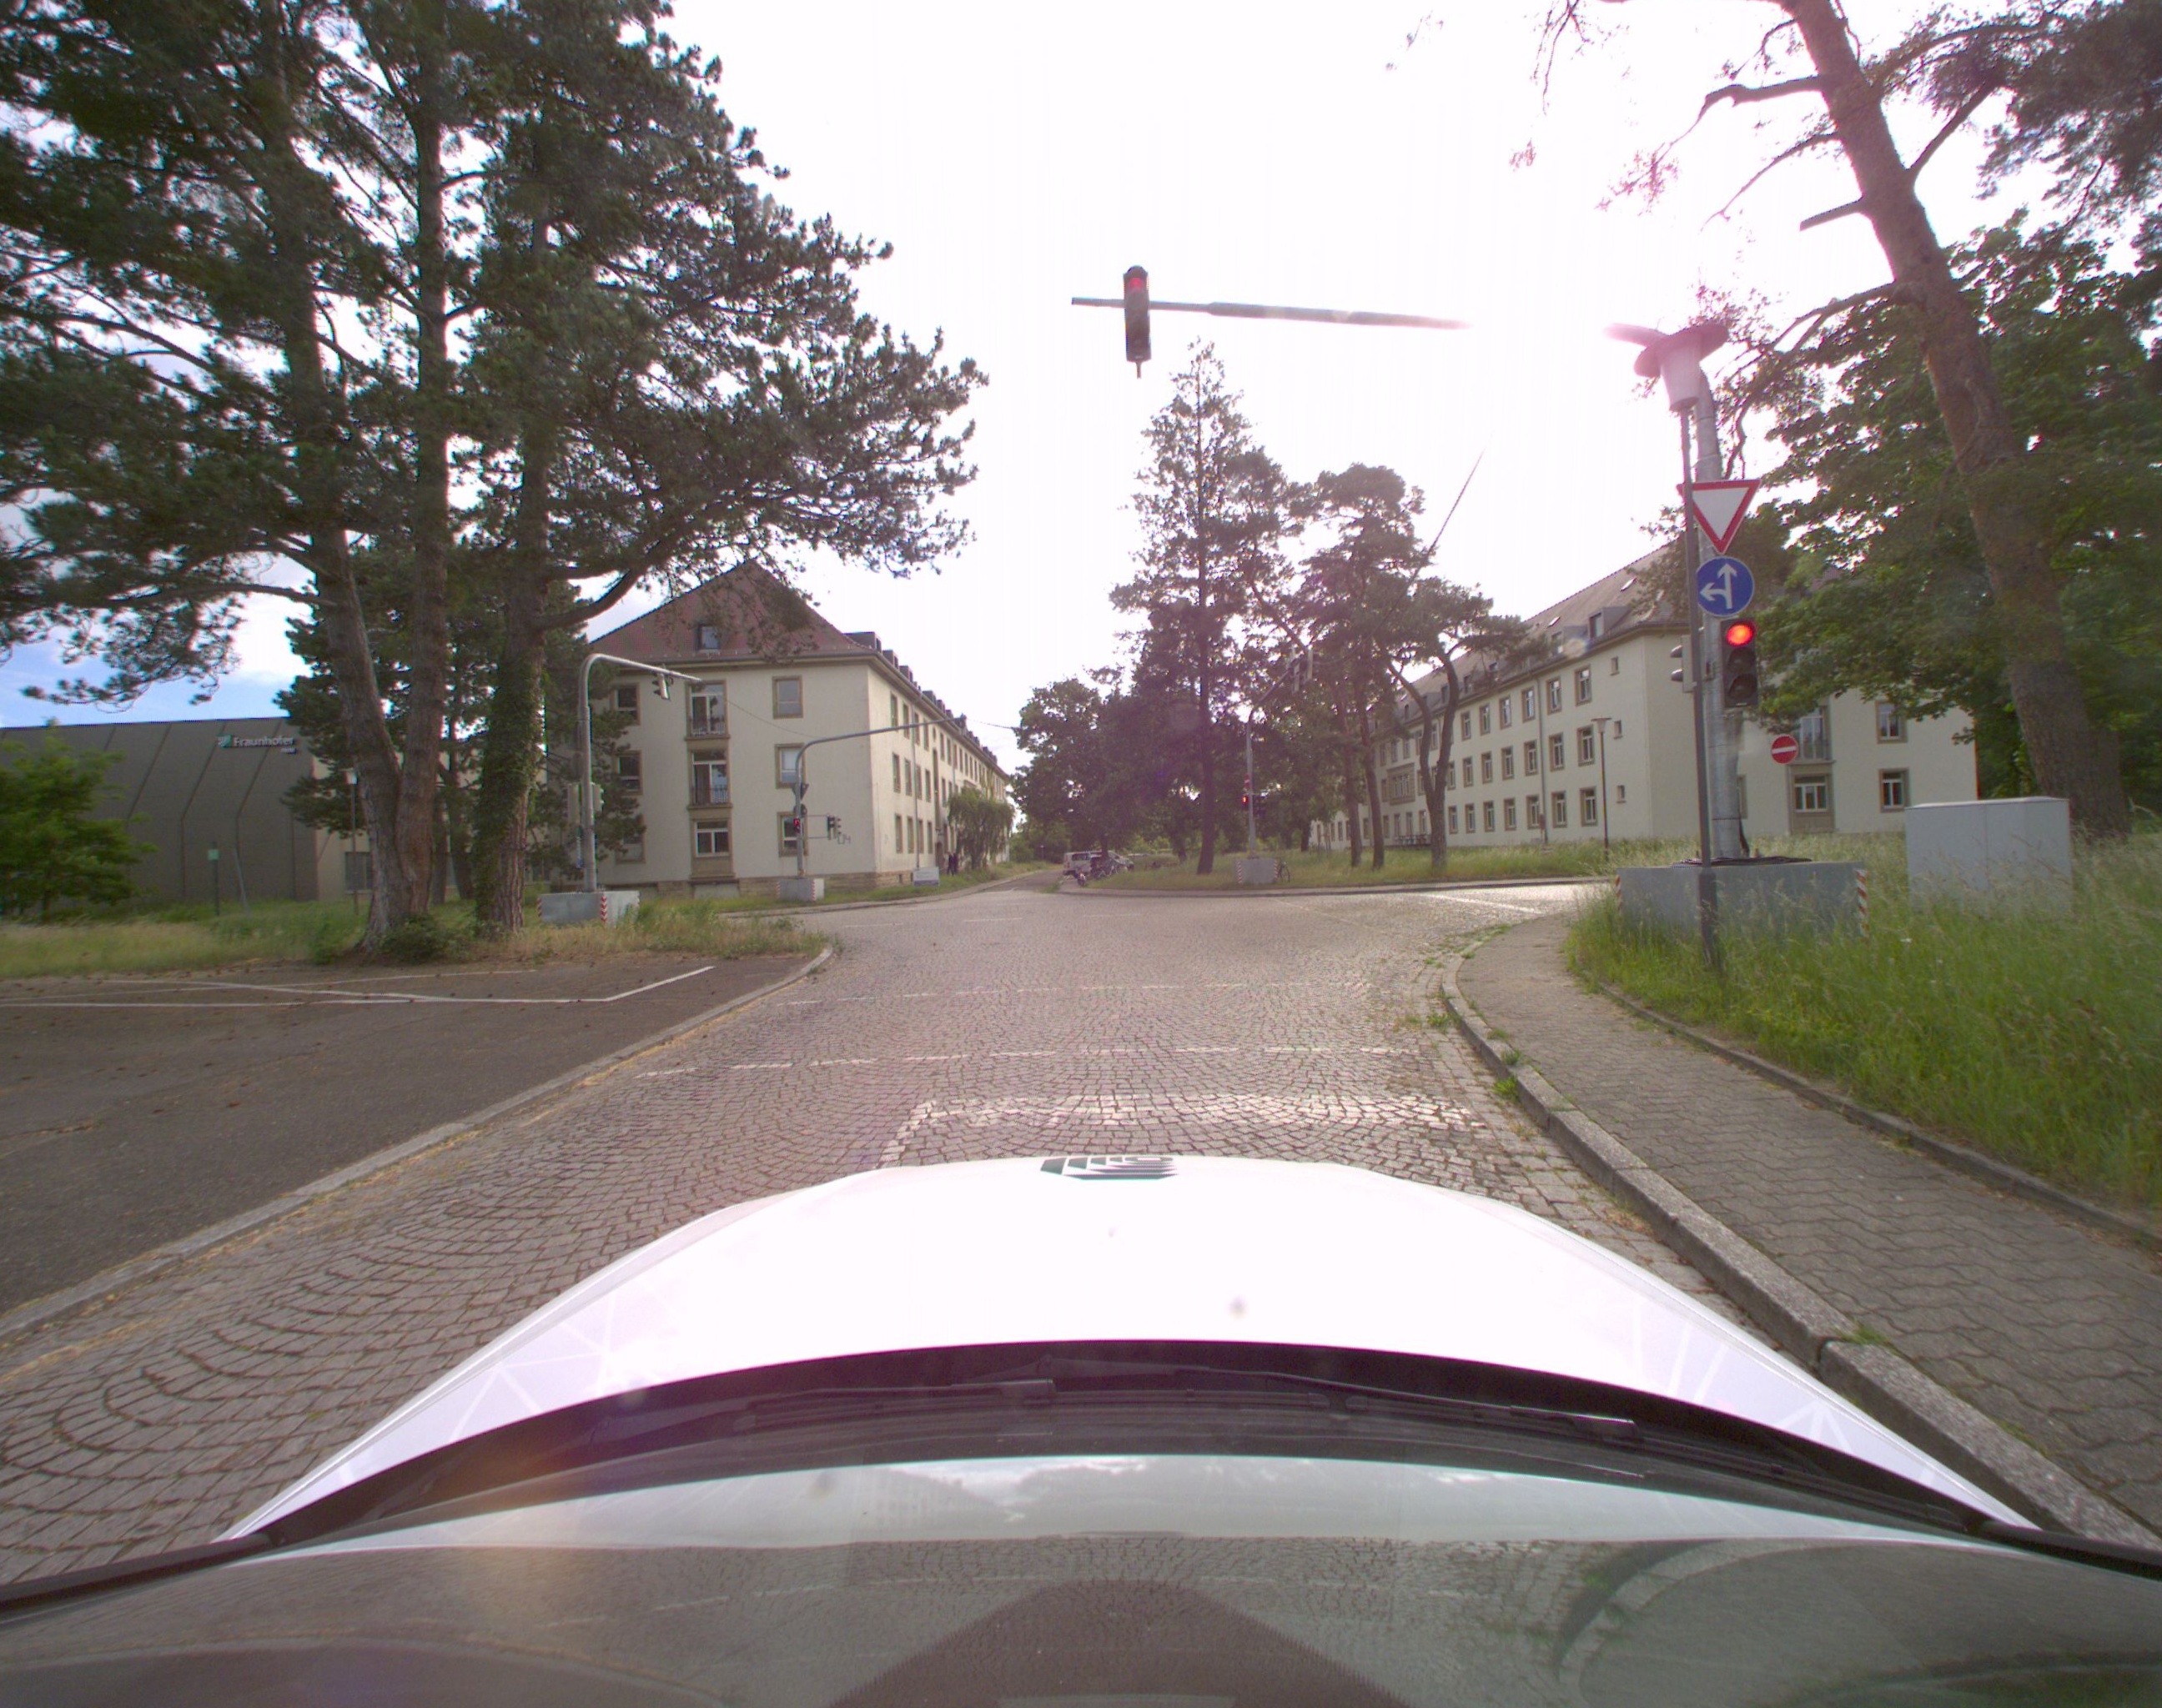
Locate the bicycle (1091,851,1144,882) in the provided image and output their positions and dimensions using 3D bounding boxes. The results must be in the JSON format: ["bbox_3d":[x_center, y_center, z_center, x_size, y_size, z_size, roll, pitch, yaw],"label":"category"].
[{"bbox_3d":[1.961,0.682,44.188,2.794,1.583,0.950,-2,-1,-1],"label":"bicycle"}]

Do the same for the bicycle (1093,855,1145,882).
[{"bbox_3d":[2.103,0.785,45.118,2.794,1.372,0.950,-2,-1,-1],"label":"bicycle"}]

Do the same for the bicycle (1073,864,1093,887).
[{"bbox_3d":[0.081,1.020,39.324,0.898,0.996,1.978,-2,0,0],"label":"bicycle"}]

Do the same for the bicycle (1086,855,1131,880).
[{"bbox_3d":[1.621,0.805,48.348,2.560,1.372,0.950,-2,-1,-1],"label":"bicycle"}]

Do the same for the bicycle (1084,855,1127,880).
[{"bbox_3d":[1.467,0.818,49.186,2.560,1.372,0.950,-2,-1,-1],"label":"bicycle"}]

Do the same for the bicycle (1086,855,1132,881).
[{"bbox_3d":[1.626,0.795,47.508,2.560,1.372,0.950,-2,-1,-1],"label":"bicycle"}]

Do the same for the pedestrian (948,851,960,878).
[{"bbox_3d":[-9.134,0.734,58.619,0.865,1.932,0.834,0,-1,-11],"label":"pedestrian"}]

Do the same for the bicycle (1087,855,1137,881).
[{"bbox_3d":[1.763,0.809,46.545,2.794,1.372,0.950,-2,-1,-1],"label":"bicycle"}]

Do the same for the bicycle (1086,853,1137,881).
[{"bbox_3d":[1.607,0.708,43.318,2.611,1.367,0.874,-2,-1,-1],"label":"bicycle"}]

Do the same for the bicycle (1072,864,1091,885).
[{"bbox_3d":[0.029,1.047,41.416,0.724,0.996,1.981,-2,0,5],"label":"bicycle"}]

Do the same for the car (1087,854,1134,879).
[{"bbox_3d":[2.036,0.863,57.310,3.215,1.621,1.937,-1,-1,-1],"label":"car"}]

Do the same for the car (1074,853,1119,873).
[{"bbox_3d":[1.367,0.844,74.650,3.977,1.600,1.702,-2,0,-2],"label":"car"}]

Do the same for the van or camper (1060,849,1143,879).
[{"bbox_3d":[1.512,0.738,60.819,5.746,1.957,2.228,-2,0,-12],"label":"van or camper"}]

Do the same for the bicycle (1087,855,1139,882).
[{"bbox_3d":[1.783,0.798,45.652,2.794,1.372,0.950,-2,-1,-1],"label":"bicycle"}]

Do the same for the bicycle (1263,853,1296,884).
[{"bbox_3d":[7.441,0.546,30.612,0.643,1.062,1.832,-6,0,-2],"label":"bicycle"}]

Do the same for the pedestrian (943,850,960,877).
[{"bbox_3d":[-9.210,0.681,57.870,1.194,1.870,1.545,-1,-1,-10],"label":"pedestrian"}]

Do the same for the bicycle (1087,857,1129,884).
[{"bbox_3d":[1.418,0.880,42.704,2.106,1.306,0.874,-2,-1,-1],"label":"bicycle"}]
